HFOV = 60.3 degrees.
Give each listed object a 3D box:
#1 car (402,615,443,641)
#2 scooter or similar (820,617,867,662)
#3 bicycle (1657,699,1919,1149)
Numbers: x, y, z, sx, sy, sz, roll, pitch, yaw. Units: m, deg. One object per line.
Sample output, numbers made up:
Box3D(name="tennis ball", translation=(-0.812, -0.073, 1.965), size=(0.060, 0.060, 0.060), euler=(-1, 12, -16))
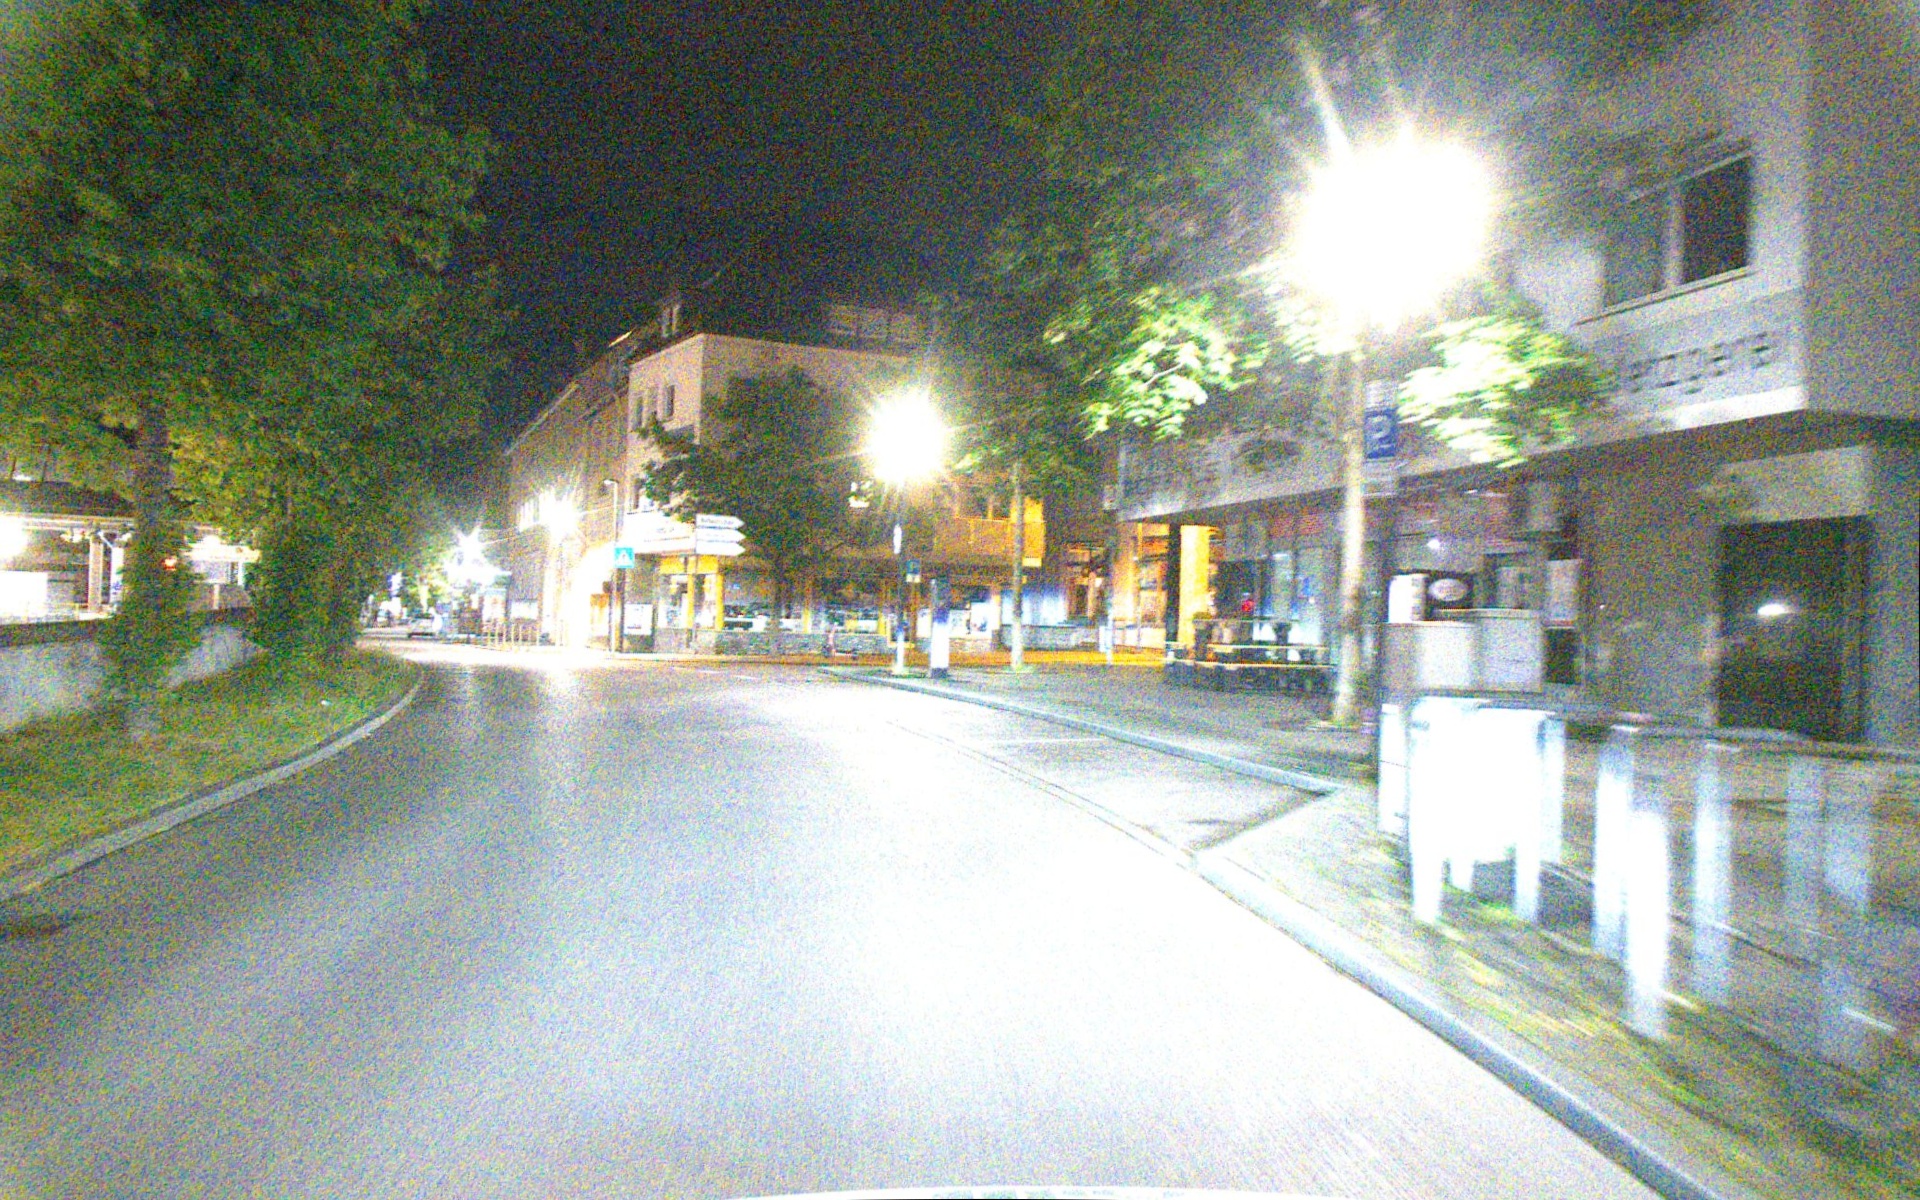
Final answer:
Box3D(name="car", translation=(-31.444, 1.632, 96.756), size=(1.810, 1.382, 3.968), euler=(0, 0, -25))
Box3D(name="scooter or similar", translation=(-3.426, 1.153, 48.672), size=(1.227, 1.248, 0.595), euler=(3, 0, -18))
Box3D(name="bicycle", translation=(2.930, 0.852, 4.679), size=(1.720, 1.081, 0.653), euler=(2, 0, -15))
